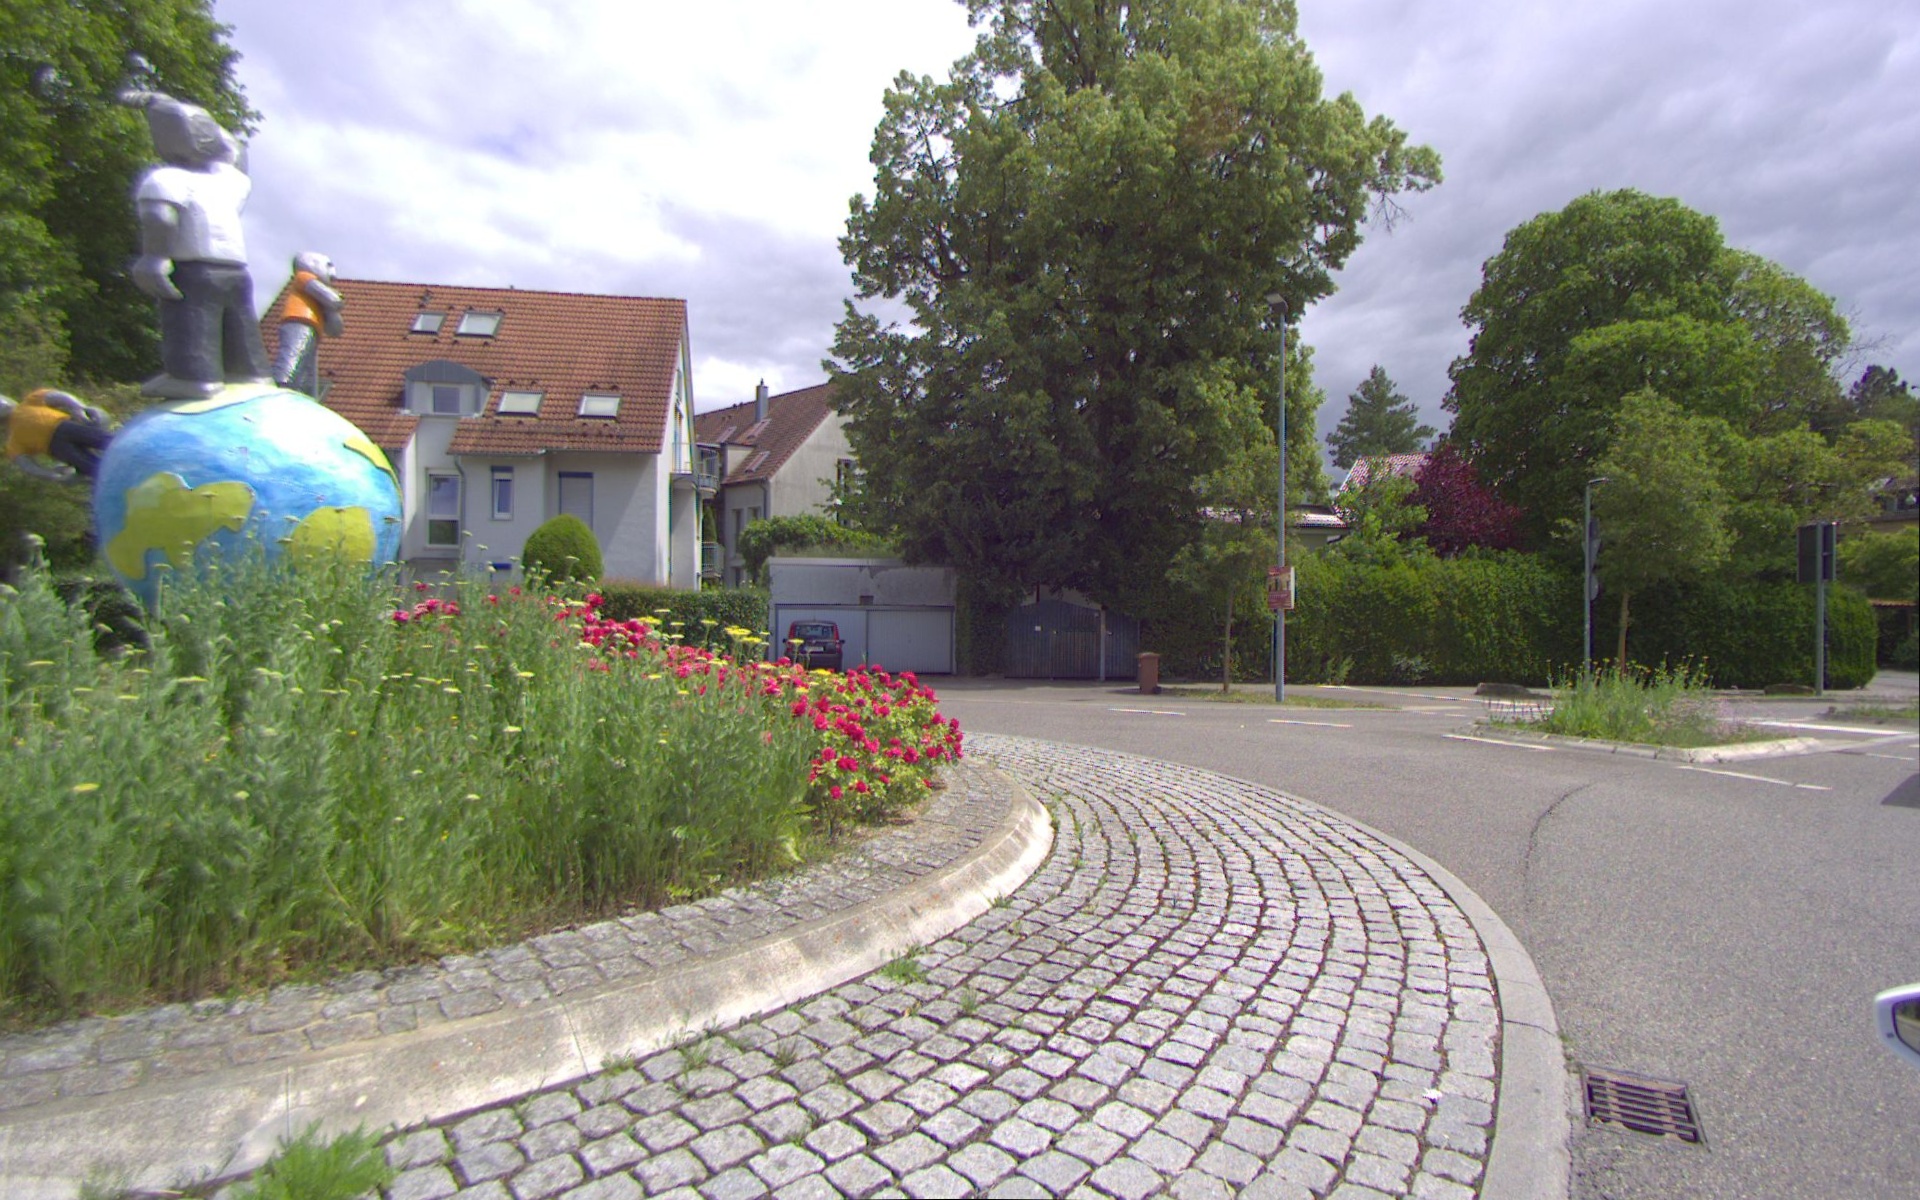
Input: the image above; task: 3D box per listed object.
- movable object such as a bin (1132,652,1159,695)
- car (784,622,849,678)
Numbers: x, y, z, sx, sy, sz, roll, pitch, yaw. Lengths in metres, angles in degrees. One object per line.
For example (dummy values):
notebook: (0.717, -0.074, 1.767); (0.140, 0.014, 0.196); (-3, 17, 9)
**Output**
movable object such as a bin: (4.219, 1.664, 22.813); (0.408, 0.947, 0.437); (2, -2, -36)
car: (-3.930, 1.419, 27.790); (1.634, 1.415, 3.576); (2, -4, -7)
